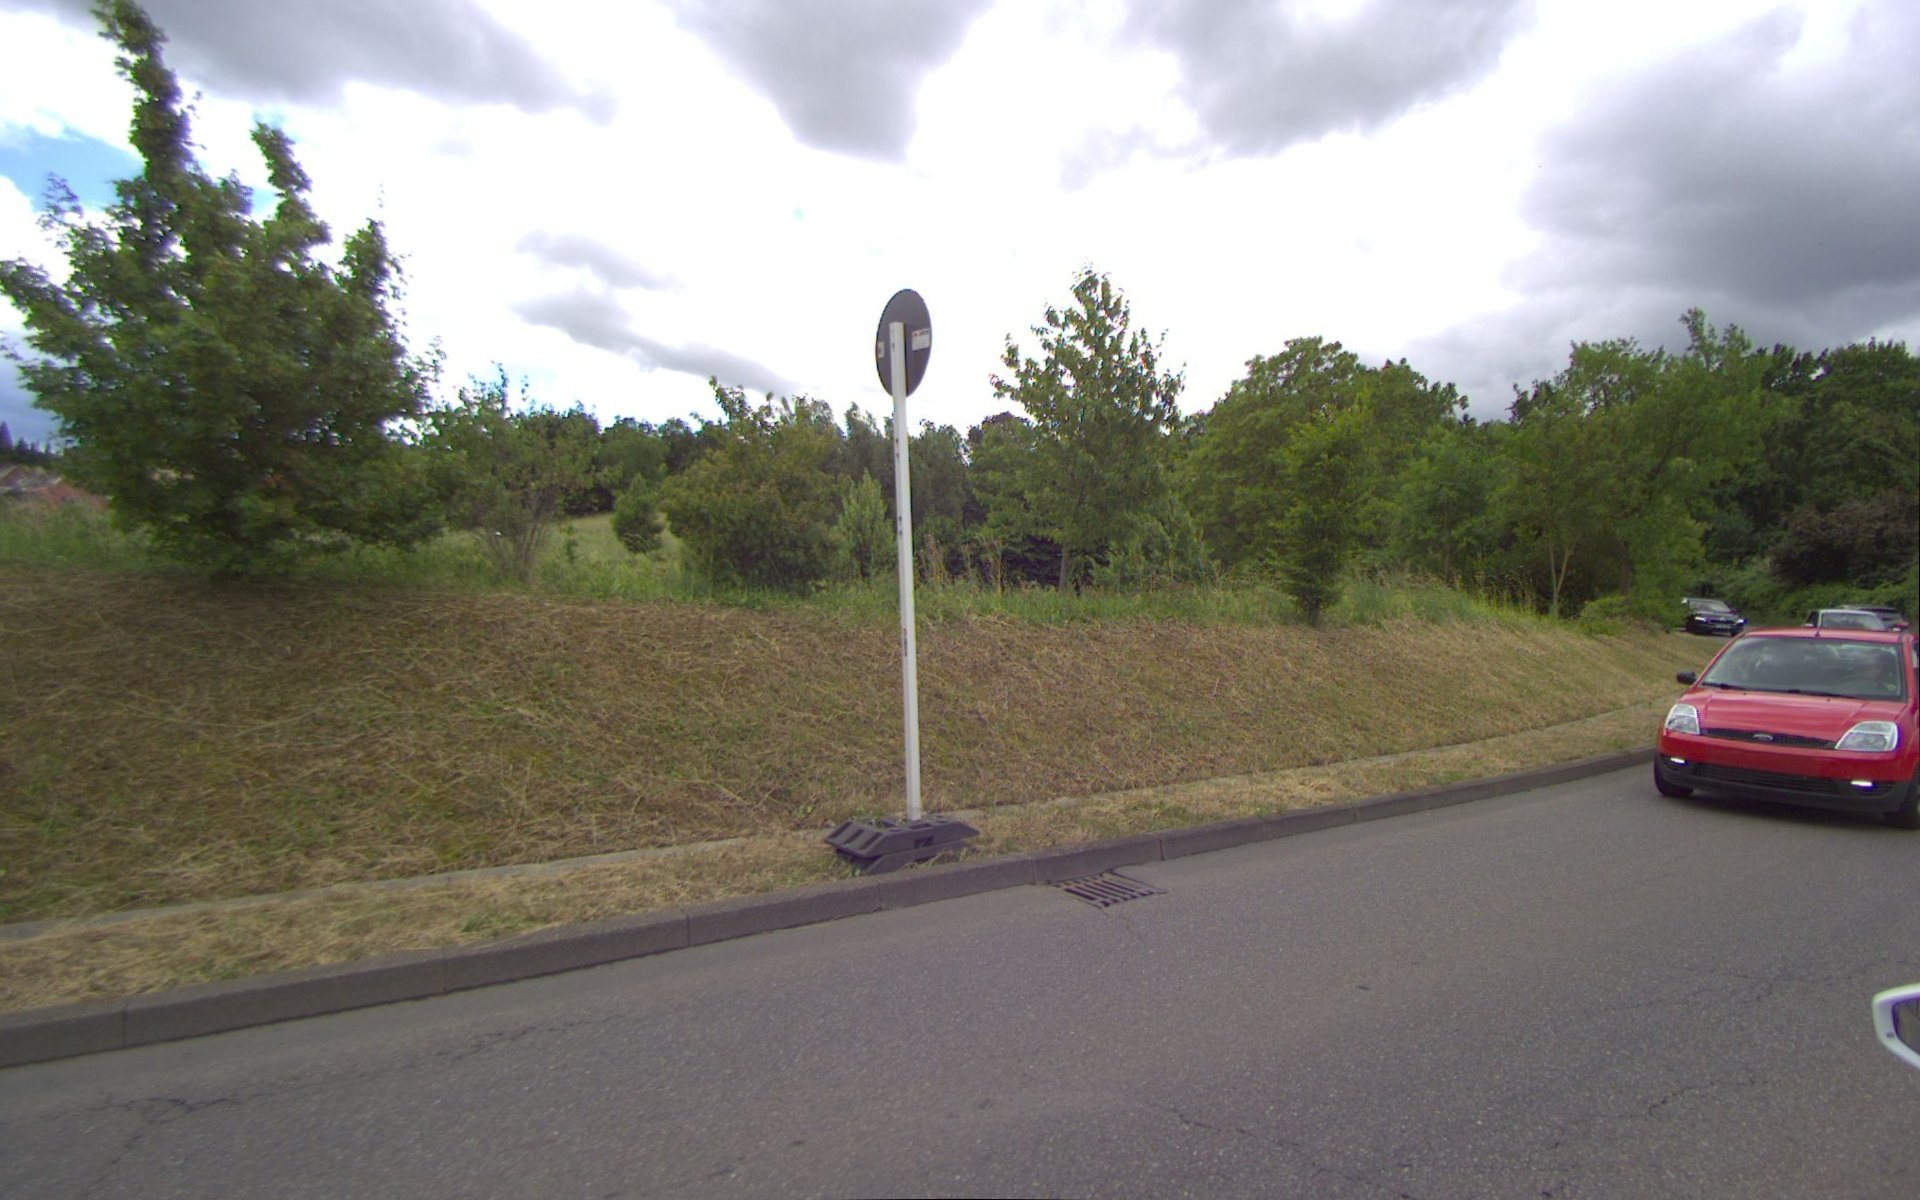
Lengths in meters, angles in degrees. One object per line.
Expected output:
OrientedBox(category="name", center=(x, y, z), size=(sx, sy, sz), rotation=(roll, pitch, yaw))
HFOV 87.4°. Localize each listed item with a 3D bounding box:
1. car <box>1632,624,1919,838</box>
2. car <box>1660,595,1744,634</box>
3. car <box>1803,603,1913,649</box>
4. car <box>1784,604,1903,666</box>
OrientedBox(category="car", center=(7.518, 0.957, 8.871), size=(3.723, 1.435, 1.726), rotation=(0, -1, -41))
OrientedBox(category="car", center=(30.813, 0.610, 41.836), size=(1.709, 1.515, 4.433), rotation=(1, -1, 22))
OrientedBox(category="car", center=(31.586, 0.887, 35.472), size=(1.811, 1.503, 3.996), rotation=(0, 0, 25))
OrientedBox(category="car", center=(24.009, 0.919, 27.436), size=(1.749, 1.515, 3.905), rotation=(1, 0, 32))
